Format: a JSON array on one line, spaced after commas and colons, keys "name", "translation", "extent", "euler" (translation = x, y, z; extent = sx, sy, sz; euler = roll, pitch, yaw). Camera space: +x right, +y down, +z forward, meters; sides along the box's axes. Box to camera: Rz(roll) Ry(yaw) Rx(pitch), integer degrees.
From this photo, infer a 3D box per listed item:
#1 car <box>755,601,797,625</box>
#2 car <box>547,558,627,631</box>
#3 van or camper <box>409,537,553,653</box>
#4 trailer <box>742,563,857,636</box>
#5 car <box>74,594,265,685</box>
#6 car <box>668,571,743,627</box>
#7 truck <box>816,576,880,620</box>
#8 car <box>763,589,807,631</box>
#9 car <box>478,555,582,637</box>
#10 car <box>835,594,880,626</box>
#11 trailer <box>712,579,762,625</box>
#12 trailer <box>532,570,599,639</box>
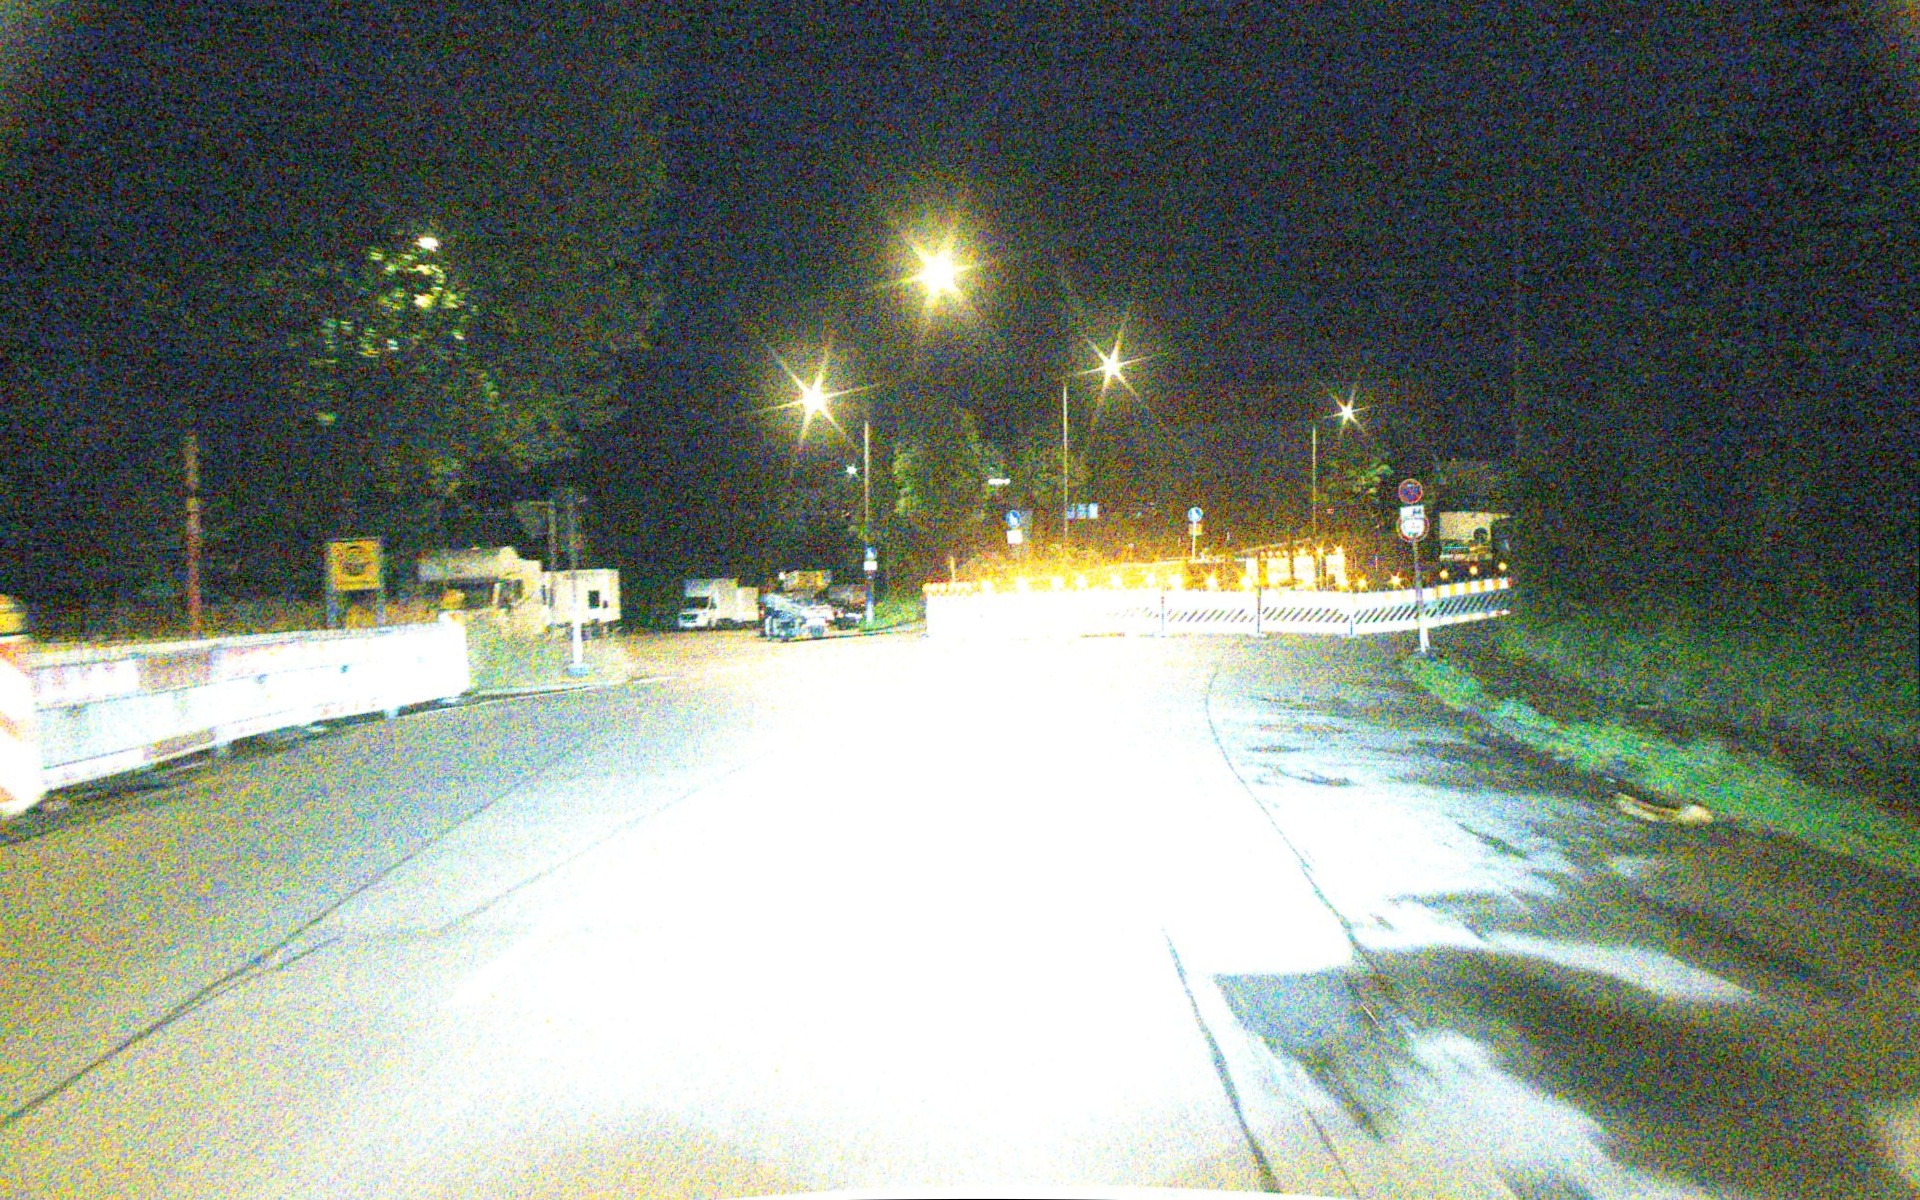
[{"name": "car", "translation": [-13.492, 0.928, 121.544], "extent": [1.951, 1.729, 4.210], "euler": [-1, 0, 10]}, {"name": "car", "translation": [-16.471, -0.263, 73.426], "extent": [2.471, 2.978, 7.192], "euler": [-3, 1, -6]}, {"name": "van or camper", "translation": [-14.403, -0.176, 50.320], "extent": [2.469, 3.148, 7.440], "euler": [-3, 1, -4]}, {"name": "trailer", "translation": [-5.327, 0.033, 54.364], "extent": [1.544, 2.198, 5.164], "euler": [-3, 0, -32]}, {"name": "car", "translation": [-28.014, 1.317, 58.955], "extent": [1.952, 2.891, 6.683], "euler": [0, 1, 19]}, {"name": "car", "translation": [-15.877, -0.103, 103.701], "extent": [2.465, 3.226, 7.144], "euler": [-3, 1, 9]}, {"name": "truck", "translation": [-9.280, -0.211, 138.160], "extent": [1.952, 3.463, 8.984], "euler": [0, 1, 19]}, {"name": "car", "translation": [-7.288, 0.409, 69.281], "extent": [1.687, 1.690, 3.996], "euler": [-1, 0, -4]}, {"name": "car", "translation": [-15.466, -0.163, 59.927], "extent": [2.471, 2.651, 7.082], "euler": [-3, 1, -6]}, {"name": "car", "translation": [-6.041, 0.583, 97.899], "extent": [1.684, 1.853, 4.003], "euler": [-1, 0, 10]}, {"name": "trailer", "translation": [-14.838, 0.114, 110.295], "extent": [1.951, 2.862, 4.707], "euler": [-2, 1, 10]}, {"name": "trailer", "translation": [-15.793, 0.154, 66.400], "extent": [1.955, 2.571, 3.564], "euler": [-3, 1, -5]}]
